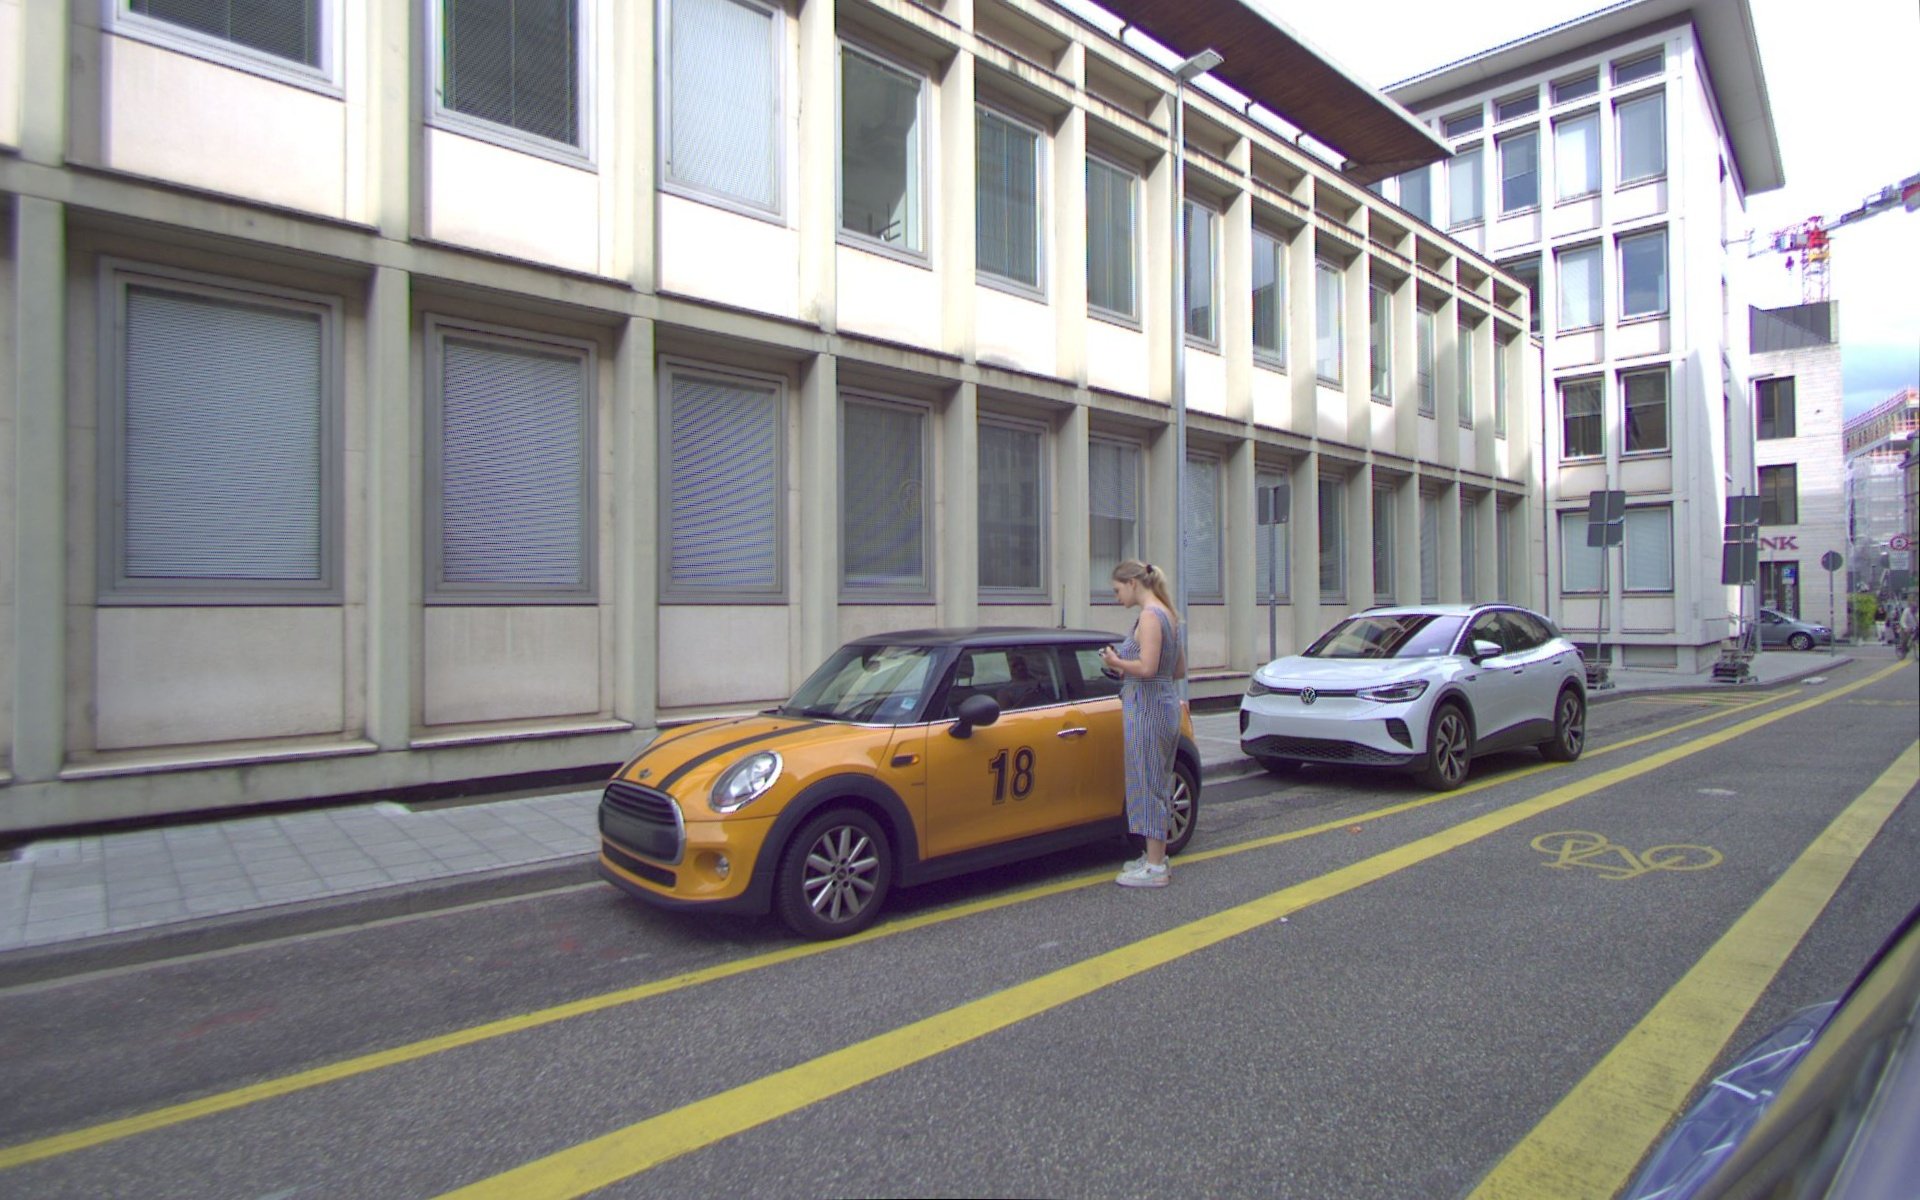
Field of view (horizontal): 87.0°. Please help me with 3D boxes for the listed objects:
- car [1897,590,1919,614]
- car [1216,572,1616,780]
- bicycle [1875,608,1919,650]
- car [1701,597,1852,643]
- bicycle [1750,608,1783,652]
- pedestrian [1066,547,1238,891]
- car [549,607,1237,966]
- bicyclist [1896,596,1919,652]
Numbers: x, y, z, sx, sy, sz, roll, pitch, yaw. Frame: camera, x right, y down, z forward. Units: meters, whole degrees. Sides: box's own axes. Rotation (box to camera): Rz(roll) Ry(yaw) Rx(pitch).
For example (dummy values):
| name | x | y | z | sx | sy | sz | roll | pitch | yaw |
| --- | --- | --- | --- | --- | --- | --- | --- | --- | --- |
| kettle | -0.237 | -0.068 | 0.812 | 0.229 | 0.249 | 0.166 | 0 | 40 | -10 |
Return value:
| name | x | y | z | sx | sy | sz | roll | pitch | yaw |
| --- | --- | --- | --- | --- | --- | --- | --- | --- | --- |
| car | 61.174 | 0.122 | 64.480 | 1.579 | 1.505 | 3.951 | -1 | 0 | 34 |
| car | 4.676 | 0.683 | 10.089 | 4.430 | 1.626 | 1.863 | 2 | -3 | -40 |
| bicycle | 28.497 | 0.850 | 30.010 | 0.859 | 1.210 | 2.849 | -1 | 0 | 16 |
| car | 30.354 | 0.699 | 37.702 | 1.786 | 1.611 | 4.184 | 0 | 0 | -45 |
| bicycle | 22.702 | 0.827 | 28.481 | 0.588 | 1.182 | 1.787 | -1 | 0 | 42 |
| pedestrian | 1.091 | 0.615 | 5.742 | 0.697 | 1.786 | 0.695 | -1 | -1 | 40 |
| car | -0.220 | 0.819 | 6.016 | 3.817 | 1.454 | 1.683 | 1 | -3 | -40 |
| bicyclist | 28.462 | 0.699 | 29.882 | 0.880 | 1.614 | 0.873 | -1 | 0 | 17 |
